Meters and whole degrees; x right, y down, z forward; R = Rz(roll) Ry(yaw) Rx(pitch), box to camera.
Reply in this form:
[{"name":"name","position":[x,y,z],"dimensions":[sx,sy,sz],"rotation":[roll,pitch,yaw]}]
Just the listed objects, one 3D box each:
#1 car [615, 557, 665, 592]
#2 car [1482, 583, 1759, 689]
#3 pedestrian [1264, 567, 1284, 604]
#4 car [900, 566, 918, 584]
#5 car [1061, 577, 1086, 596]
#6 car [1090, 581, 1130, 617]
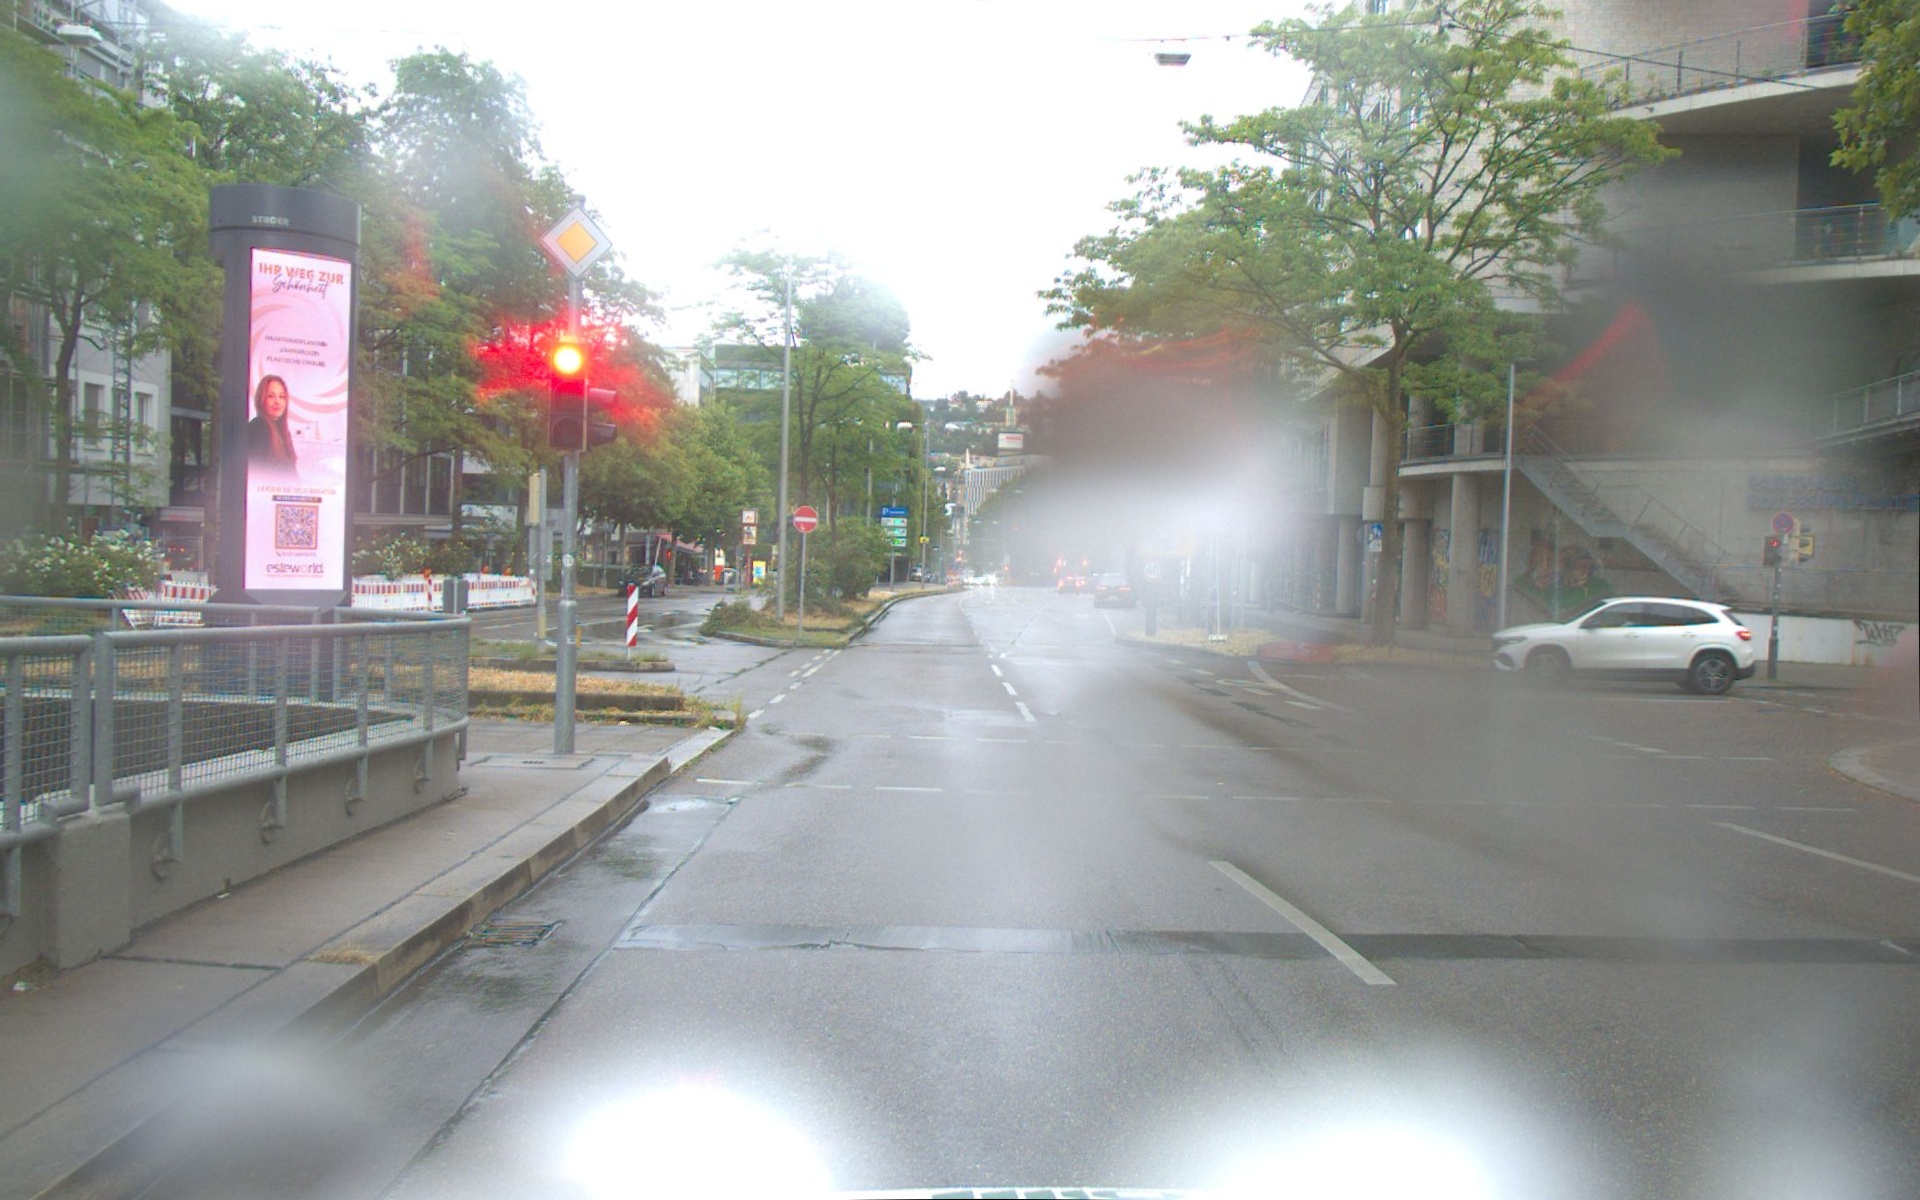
[{"name":"car","position":[-16.043,-1.298,83.047],"dimensions":[1.744,1.582,3.893],"rotation":[2,2,-1]},{"name":"car","position":[11.493,0.595,29.050],"dimensions":[4.250,1.713,1.753],"rotation":[1,0,12]},{"name":"pedestrian","position":[13.781,-0.636,72.624],"dimensions":[0.769,1.584,0.533],"rotation":[2,0,4]},{"name":"car","position":[-6.864,-3.385,223.844],"dimensions":[2.084,2.202,5.198],"rotation":[2,0,2]},{"name":"car","position":[9.880,-1.202,144.184],"dimensions":[1.710,1.545,4.106],"rotation":[2,0,-1]},{"name":"car","position":[7.560,-0.047,83.640],"dimensions":[1.861,1.713,3.912],"rotation":[2,0,3]}]
